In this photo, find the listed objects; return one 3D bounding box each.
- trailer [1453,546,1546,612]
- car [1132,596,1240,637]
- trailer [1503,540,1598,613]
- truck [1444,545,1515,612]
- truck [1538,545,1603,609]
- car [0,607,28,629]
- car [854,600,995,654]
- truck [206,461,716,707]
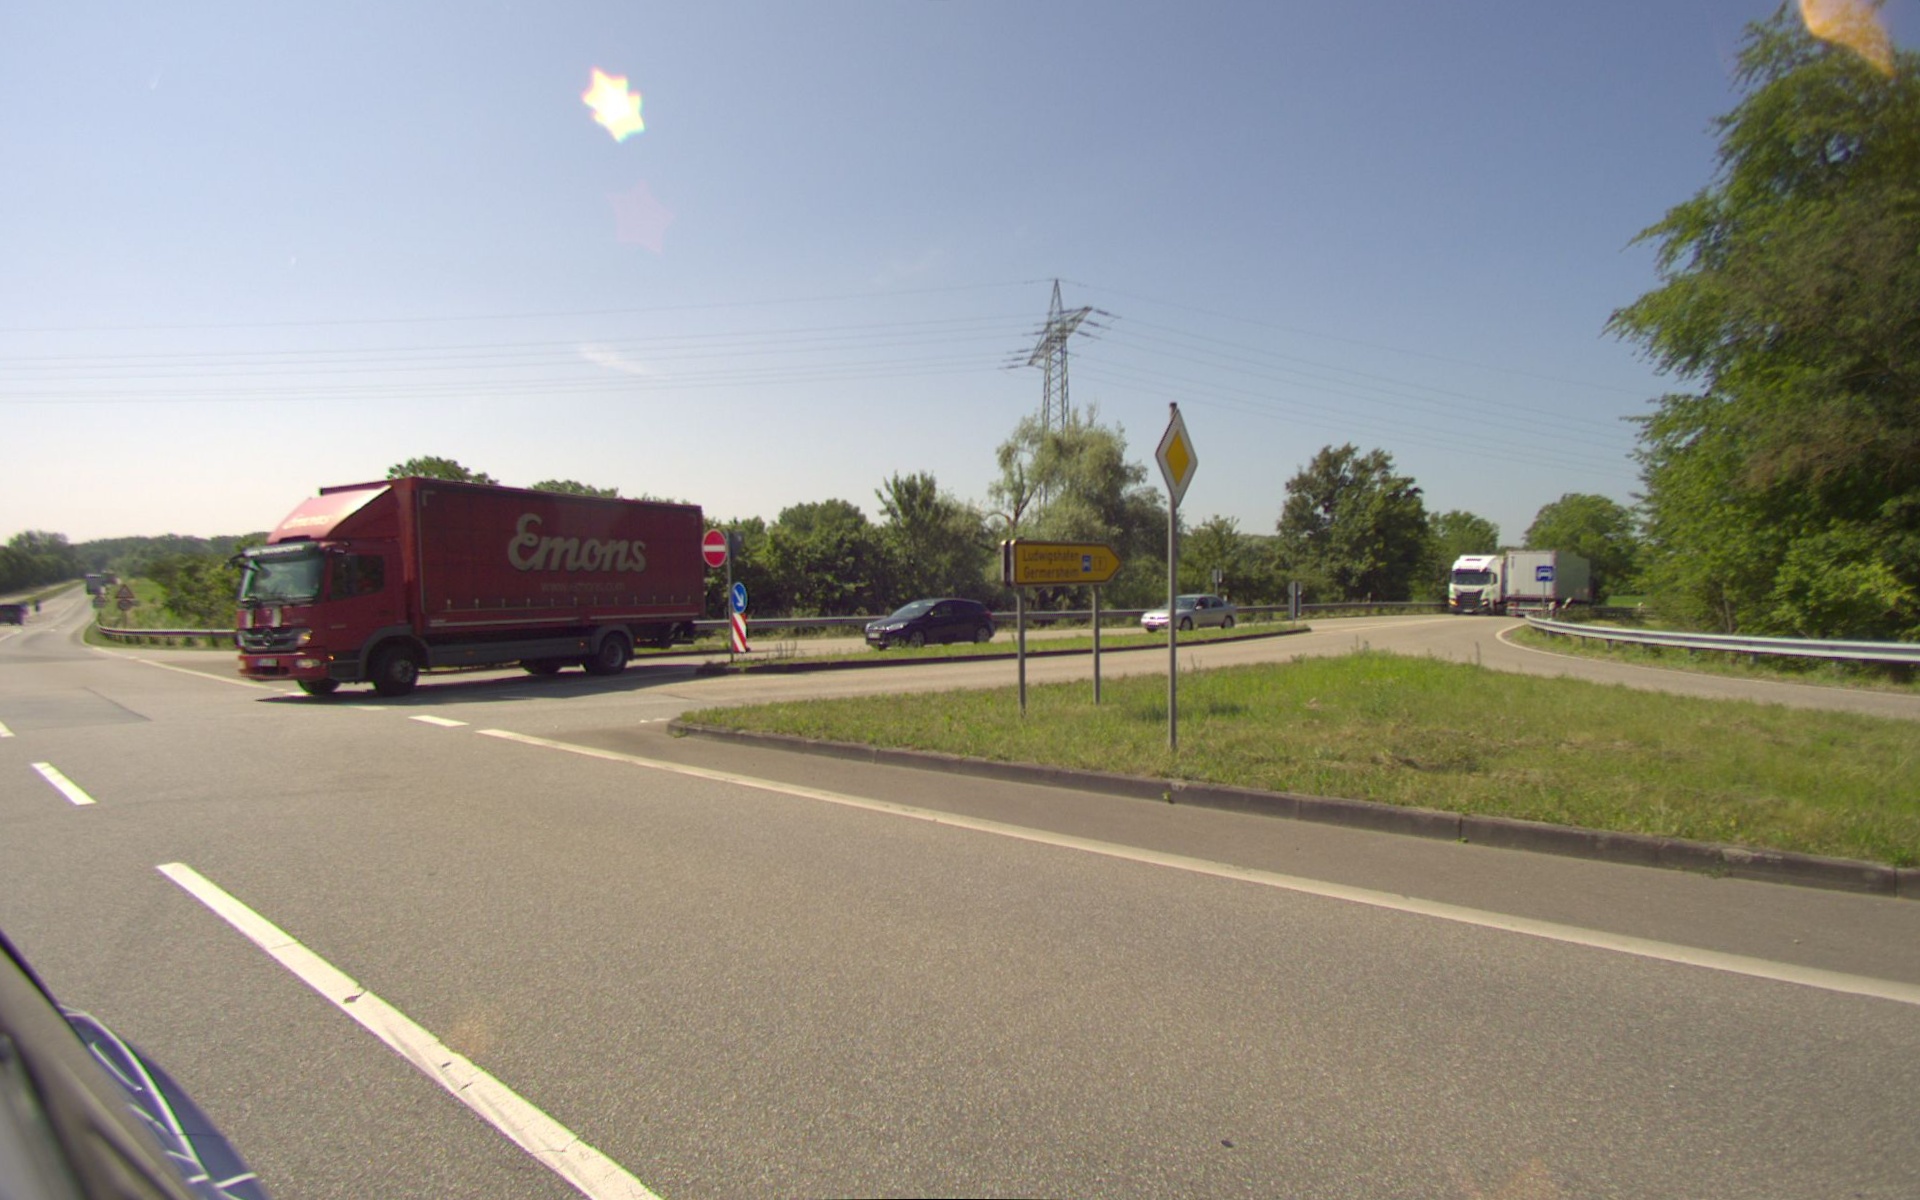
[{"bbox_3d":[38.647,-1.434,72.104,2.929,4.271,13.792,2,2,40],"label":"trailer"},{"bbox_3d":[8.521,0.595,37.977,4.310,1.395,1.791,-1,0,-42],"label":"car"},{"bbox_3d":[37.867,-1.452,64.533,2.894,4.196,13.794,-1,0,40],"label":"trailer"},{"bbox_3d":[34.646,-1.413,67.379,2.939,4.269,5.655,2,1,40],"label":"truck"},{"bbox_3d":[41.927,-1.532,69.399,2.878,4.205,5.890,-1,0,40],"label":"truck"},{"bbox_3d":[-85.225,1.657,90.877,1.968,1.893,5.002,-1,-1,-40],"label":"car"},{"bbox_3d":[-0.987,0.740,29.510,3.941,1.425,1.790,-1,0,-44],"label":"car"},{"bbox_3d":[-8.945,-0.243,19.888,2.679,3.689,9.174,-1,0,28],"label":"truck"}]
